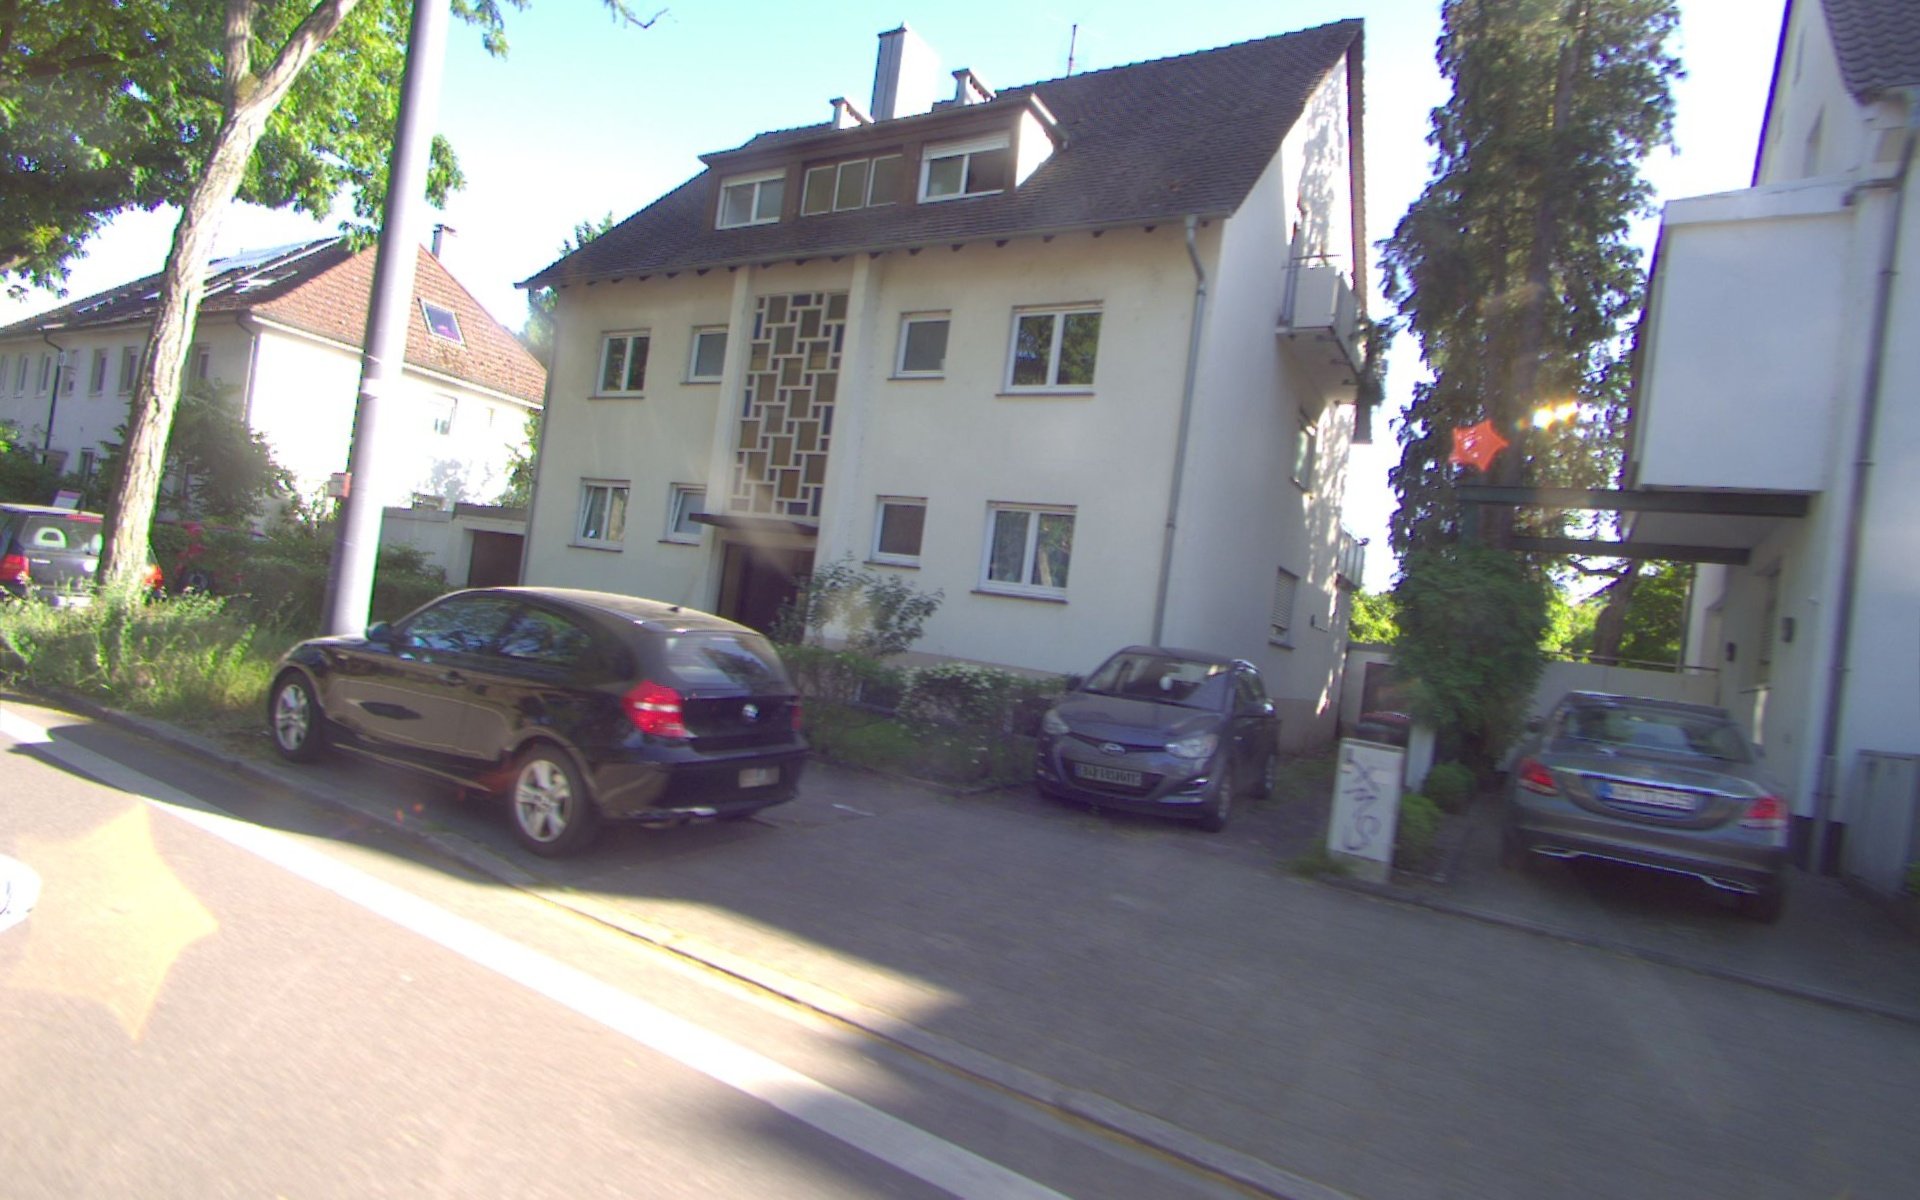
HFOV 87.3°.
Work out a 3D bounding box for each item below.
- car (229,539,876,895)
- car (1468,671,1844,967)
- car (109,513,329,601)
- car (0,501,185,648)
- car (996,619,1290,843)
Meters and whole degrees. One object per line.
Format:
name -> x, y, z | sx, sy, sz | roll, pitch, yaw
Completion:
car -> -2.879, 0.570, 6.872 | 4.227, 1.467, 1.786 | 7, 1, 30
car -> 5.575, 1.466, 8.290 | 1.828, 1.508, 4.423 | 7, 1, 34
car -> -15.978, -0.876, 21.897 | 1.702, 1.453, 3.409 | 7, 0, 18
car -> -10.937, -0.381, 11.835 | 3.584, 1.416, 1.628 | 7, 1, 31
car -> 1.951, 1.127, 9.681 | 1.709, 1.507, 3.748 | 7, -1, 26
